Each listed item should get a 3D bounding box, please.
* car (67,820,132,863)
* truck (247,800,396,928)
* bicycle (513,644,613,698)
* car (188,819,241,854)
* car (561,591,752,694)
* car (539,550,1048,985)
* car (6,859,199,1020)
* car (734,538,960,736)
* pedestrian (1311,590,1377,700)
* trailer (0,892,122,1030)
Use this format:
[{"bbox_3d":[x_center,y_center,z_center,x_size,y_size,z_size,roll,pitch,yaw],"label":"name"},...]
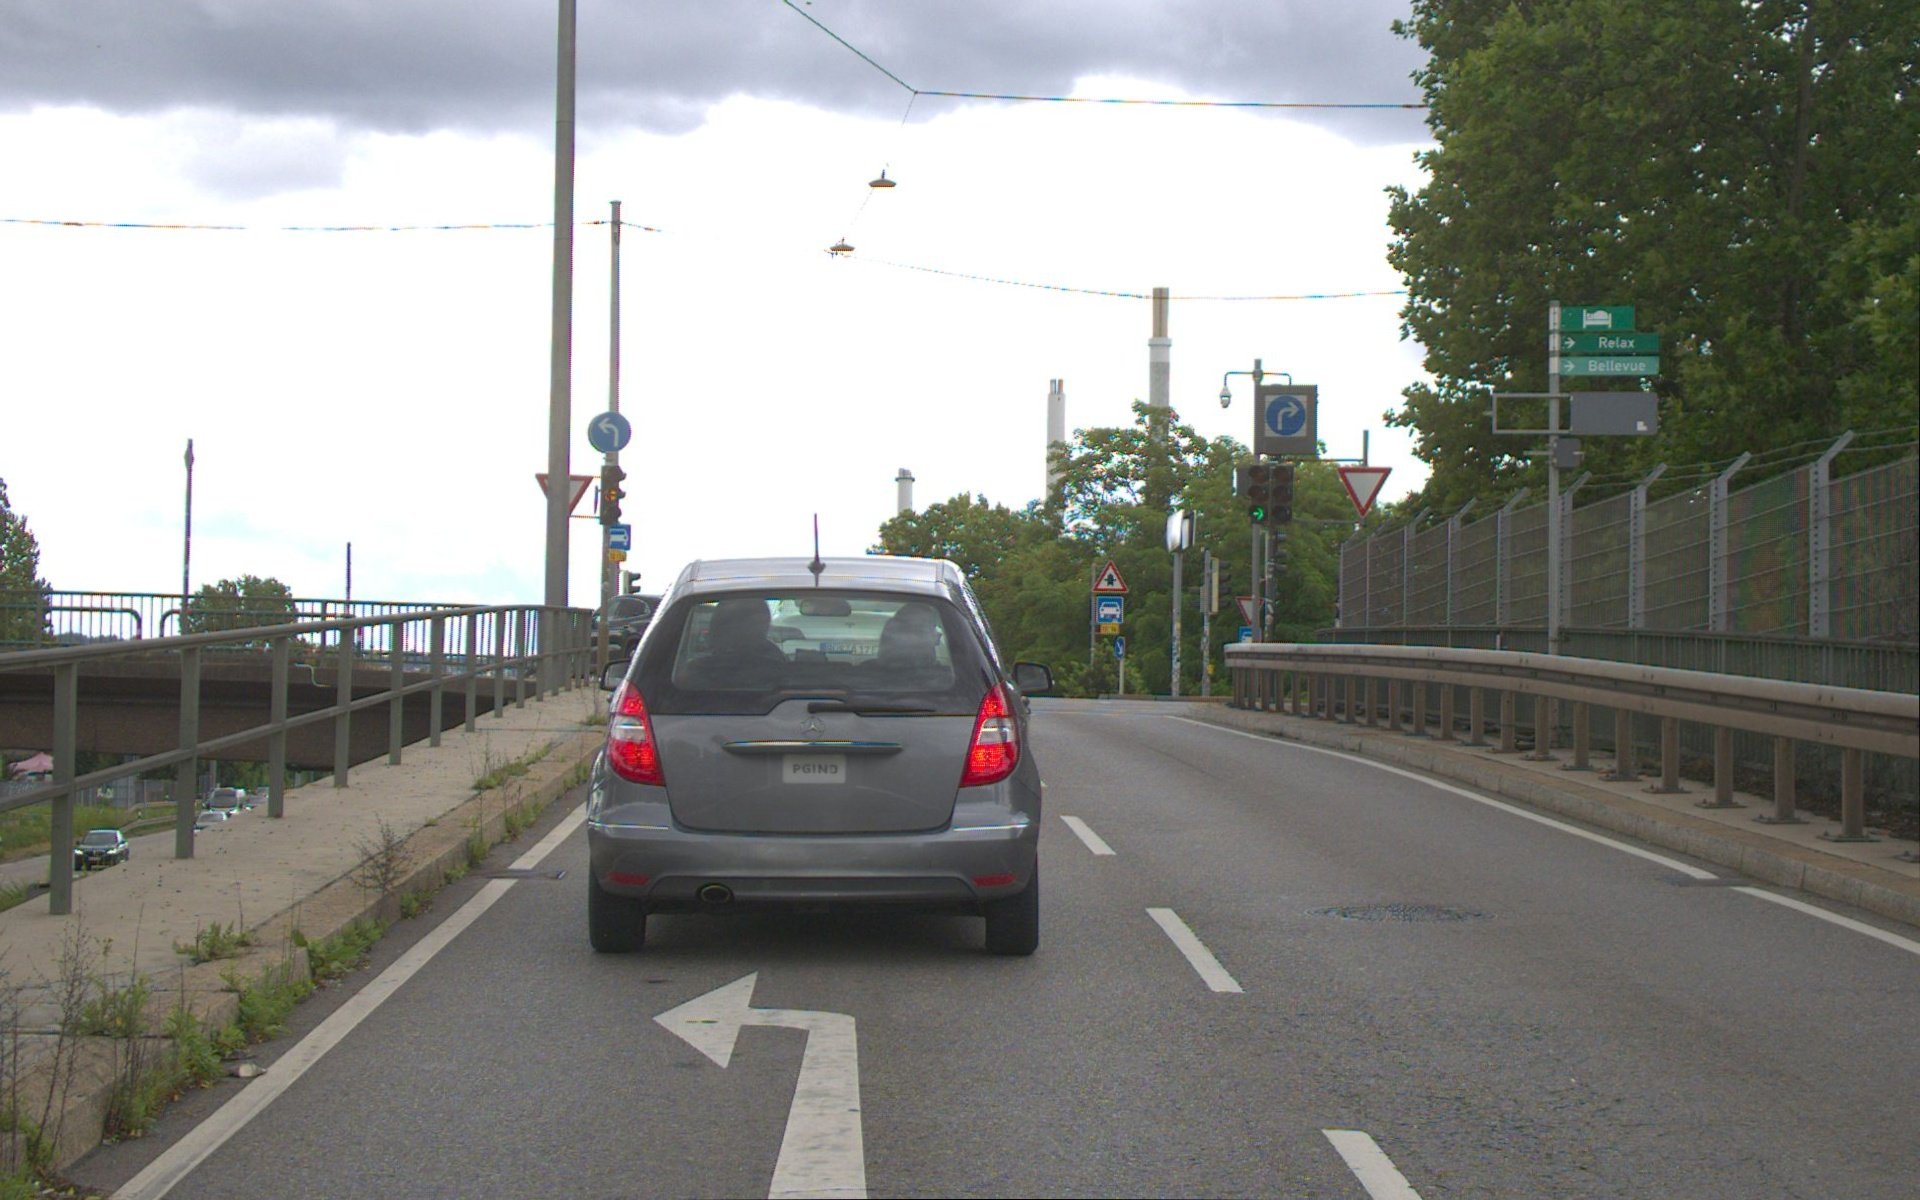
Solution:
[{"bbox_3d":[-37.413,10.505,149.580,1.915,1.733,4.552,0,-3,-4],"label":"car"},{"bbox_3d":[-17.620,7.261,95.347,2.746,3.282,7.440,1,-3,0],"label":"truck"},{"bbox_3d":[-8.518,1.514,73.737,2.032,1.121,0.929,1,0,-13],"label":"bicycle"},{"bbox_3d":[-34.269,10.862,158.144,1.728,1.523,4.086,1,-3,-3],"label":"car"},{"bbox_3d":[-5.306,0.719,59.659,1.931,1.711,4.001,1,0,-27],"label":"car"},{"bbox_3d":[-0.629,0.604,14.695,1.857,1.583,4.000,1,0,0],"label":"car"},{"bbox_3d":[-15.490,6.093,62.441,1.993,2.676,5.932,1,-4,0],"label":"car"},{"bbox_3d":[-1.135,0.322,32.380,1.931,1.711,4.406,1,0,-4],"label":"car"},{"bbox_3d":[5.964,0.706,53.424,0.832,1.672,0.979,0,-3,-5],"label":"pedestrian"},{"bbox_3d":[-15.391,6.002,57.537,1.729,2.123,3.936,1,-4,0],"label":"trailer"}]
